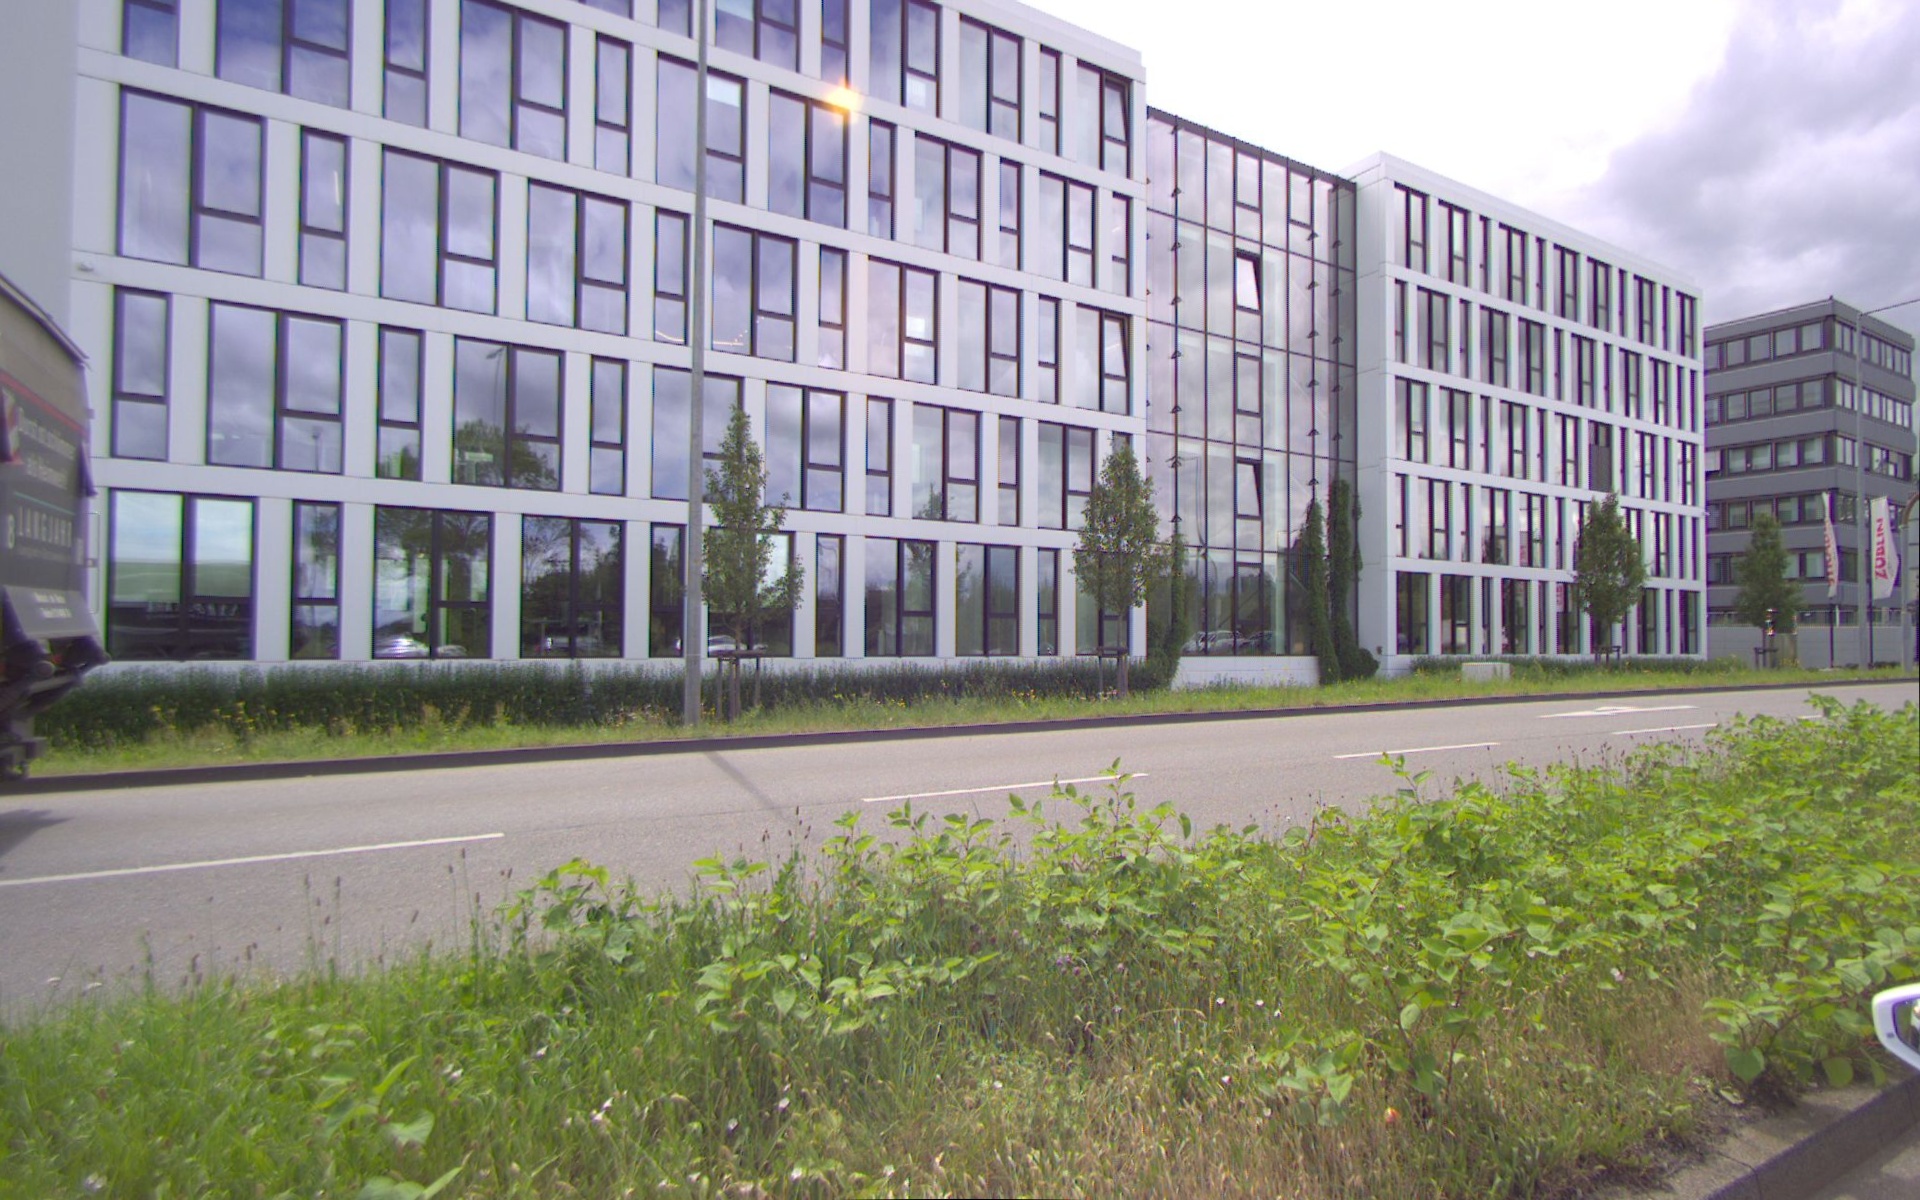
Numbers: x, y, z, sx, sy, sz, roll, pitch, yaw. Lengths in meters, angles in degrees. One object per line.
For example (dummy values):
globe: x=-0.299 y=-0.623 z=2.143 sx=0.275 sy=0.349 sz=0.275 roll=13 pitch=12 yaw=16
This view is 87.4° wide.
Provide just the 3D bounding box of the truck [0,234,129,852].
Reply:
truck: x=-10.203 y=-0.369 z=4.635 sx=9.423 sy=3.564 sz=3.150 roll=1 pitch=-1 yaw=-33
